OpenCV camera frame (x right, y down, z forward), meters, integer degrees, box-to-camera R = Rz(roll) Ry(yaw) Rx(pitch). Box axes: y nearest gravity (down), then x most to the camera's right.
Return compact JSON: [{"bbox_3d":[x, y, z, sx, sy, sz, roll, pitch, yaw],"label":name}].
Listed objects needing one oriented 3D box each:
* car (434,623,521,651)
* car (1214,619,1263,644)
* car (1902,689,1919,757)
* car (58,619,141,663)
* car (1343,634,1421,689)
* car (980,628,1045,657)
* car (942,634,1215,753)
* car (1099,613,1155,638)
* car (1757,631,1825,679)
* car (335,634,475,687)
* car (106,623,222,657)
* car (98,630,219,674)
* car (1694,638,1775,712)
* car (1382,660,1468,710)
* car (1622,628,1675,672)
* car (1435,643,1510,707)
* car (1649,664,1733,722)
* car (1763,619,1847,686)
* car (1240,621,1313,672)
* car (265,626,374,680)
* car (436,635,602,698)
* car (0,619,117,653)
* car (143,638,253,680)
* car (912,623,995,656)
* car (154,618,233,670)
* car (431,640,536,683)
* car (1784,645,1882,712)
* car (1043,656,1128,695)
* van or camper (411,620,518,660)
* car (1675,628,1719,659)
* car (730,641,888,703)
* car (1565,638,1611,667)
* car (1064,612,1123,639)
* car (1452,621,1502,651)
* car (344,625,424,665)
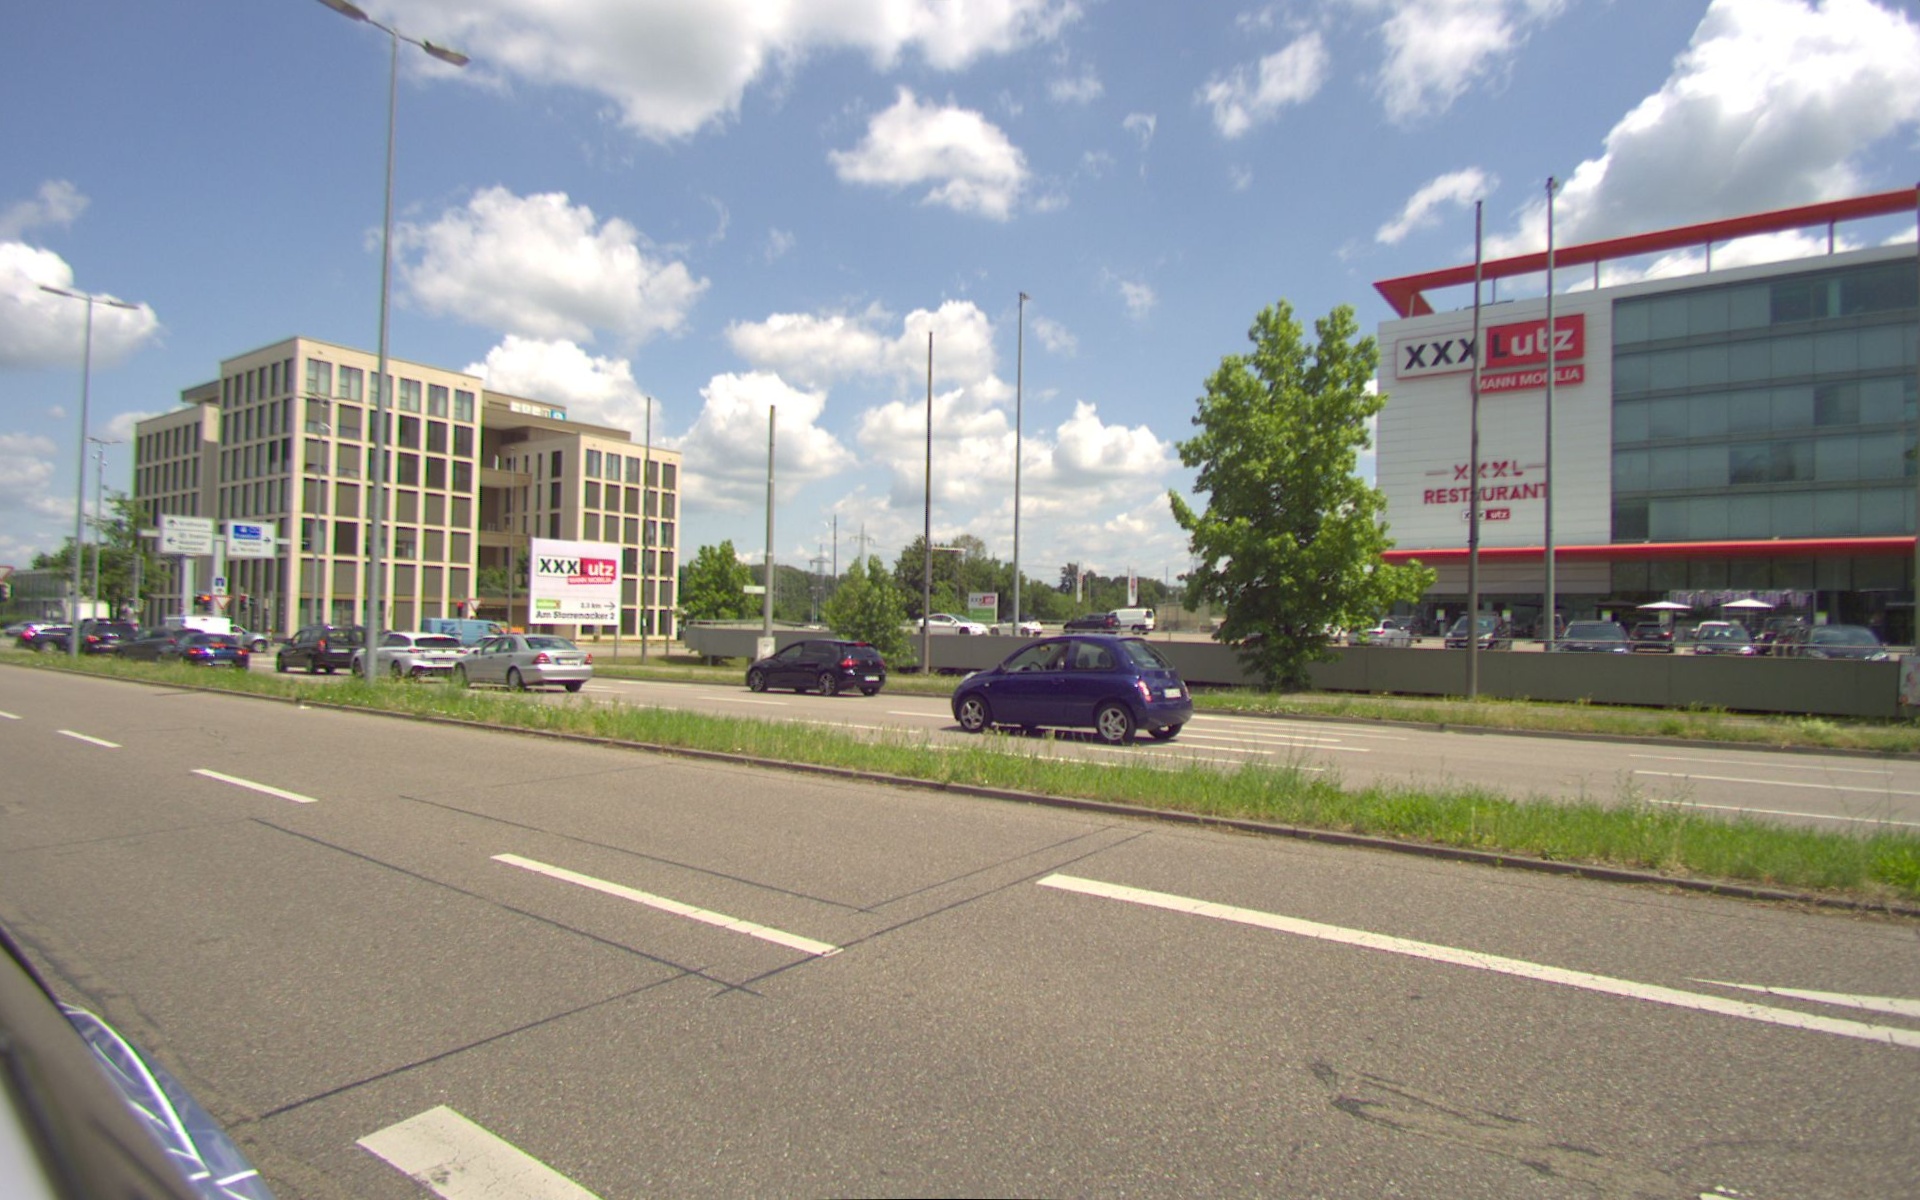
[{"bbox_3d":[-43.469,3.390,91.267,2.853,2.347,6.444,-5,-6,42],"label":"car"},{"bbox_3d":[18.134,2.065,65.871,1.590,1.481,3.780,-2,-4,41],"label":"car"},{"bbox_3d":[30.909,3.853,31.312,1.996,2.029,3.951,-2,-4,35],"label":"car"},{"bbox_3d":[-34.154,1.642,40.147,4.166,1.657,1.773,-2,-4,40],"label":"car"},{"bbox_3d":[19.129,2.755,45.756,1.999,2.347,4.303,-2,-3,41],"label":"car"},{"bbox_3d":[3.402,2.768,65.700,3.822,1.847,1.835,-1,-4,34],"label":"car"},{"bbox_3d":[1.711,1.302,15.035,3.670,1.486,1.723,0,-3,37],"label":"car"},{"bbox_3d":[12.753,1.951,77.247,3.825,1.847,1.834,-2,-4,35],"label":"car"},{"bbox_3d":[37.001,2.450,45.175,1.996,2.004,4.310,-1,-3,35],"label":"car"},{"bbox_3d":[-16.228,1.749,29.495,4.838,1.413,1.774,-2,-5,38],"label":"car"},{"bbox_3d":[-44.063,2.212,56.116,1.859,1.741,4.699,0,-2,34],"label":"car"},{"bbox_3d":[-29.777,1.942,37.607,3.741,1.572,1.786,-1,-4,19],"label":"car"},{"bbox_3d":[26.531,2.522,34.794,1.996,2.347,4.310,-1,-3,35],"label":"car"},{"bbox_3d":[16.250,2.923,35.284,1.847,1.608,3.948,-2,-4,39],"label":"car"},{"bbox_3d":[32.973,2.394,48.457,1.996,2.004,4.310,-1,-3,35],"label":"car"},{"bbox_3d":[20.199,2.881,39.799,1.996,2.347,4.310,-1,-3,35],"label":"car"},{"bbox_3d":[22.091,2.738,30.529,1.844,1.608,3.948,-2,-4,39],"label":"car"},{"bbox_3d":[31.359,1.949,37.664,1.996,2.347,4.310,-1,-3,35],"label":"car"},{"bbox_3d":[15.428,2.273,49.225,1.997,2.347,4.306,-1,-3,38],"label":"car"},{"bbox_3d":[-21.629,1.779,34.111,4.221,1.714,1.774,-2,-4,38],"label":"car"},{"bbox_3d":[-11.116,1.640,25.373,4.667,1.429,1.774,-2,-5,38],"label":"car"},{"bbox_3d":[-44.700,1.734,49.642,1.995,1.591,4.765,0,-1,34],"label":"car"},{"bbox_3d":[-24.659,1.906,32.698,4.301,1.261,1.774,-2,-4,38],"label":"car"},{"bbox_3d":[-0.404,2.313,59.280,4.664,1.847,1.833,-2,-4,36],"label":"car"},{"bbox_3d":[-32.281,1.871,42.595,3.573,2.059,1.838,-2,-4,40],"label":"car"},{"bbox_3d":[-17.403,2.212,36.881,4.351,1.484,1.604,-2,-4,37],"label":"car"},{"bbox_3d":[28.262,2.505,32.882,1.996,2.029,3.951,-2,-4,35],"label":"car"},{"bbox_3d":[5.553,3.284,44.414,1.916,1.608,3.948,-2,-4,39],"label":"car"},{"bbox_3d":[-31.786,2.605,65.097,2.000,2.399,5.768,-2,-4,42],"label":"van or camper"},{"bbox_3d":[37.256,2.231,51.139,1.678,1.481,3.784,-2,-4,38],"label":"car"},{"bbox_3d":[-3.980,1.828,26.349,4.107,1.481,1.605,-2,-4,36],"label":"car"},{"bbox_3d":[33.594,2.805,54.110,1.678,1.481,3.784,-2,-4,38],"label":"car"},{"bbox_3d":[9.673,1.872,73.267,3.827,1.847,1.832,-2,-4,37],"label":"car"},{"bbox_3d":[27.213,1.894,53.240,1.678,1.481,3.784,-2,-4,38],"label":"car"},{"bbox_3d":[-25.937,2.053,45.530,3.865,1.714,1.774,-2,-4,38],"label":"car"}]
